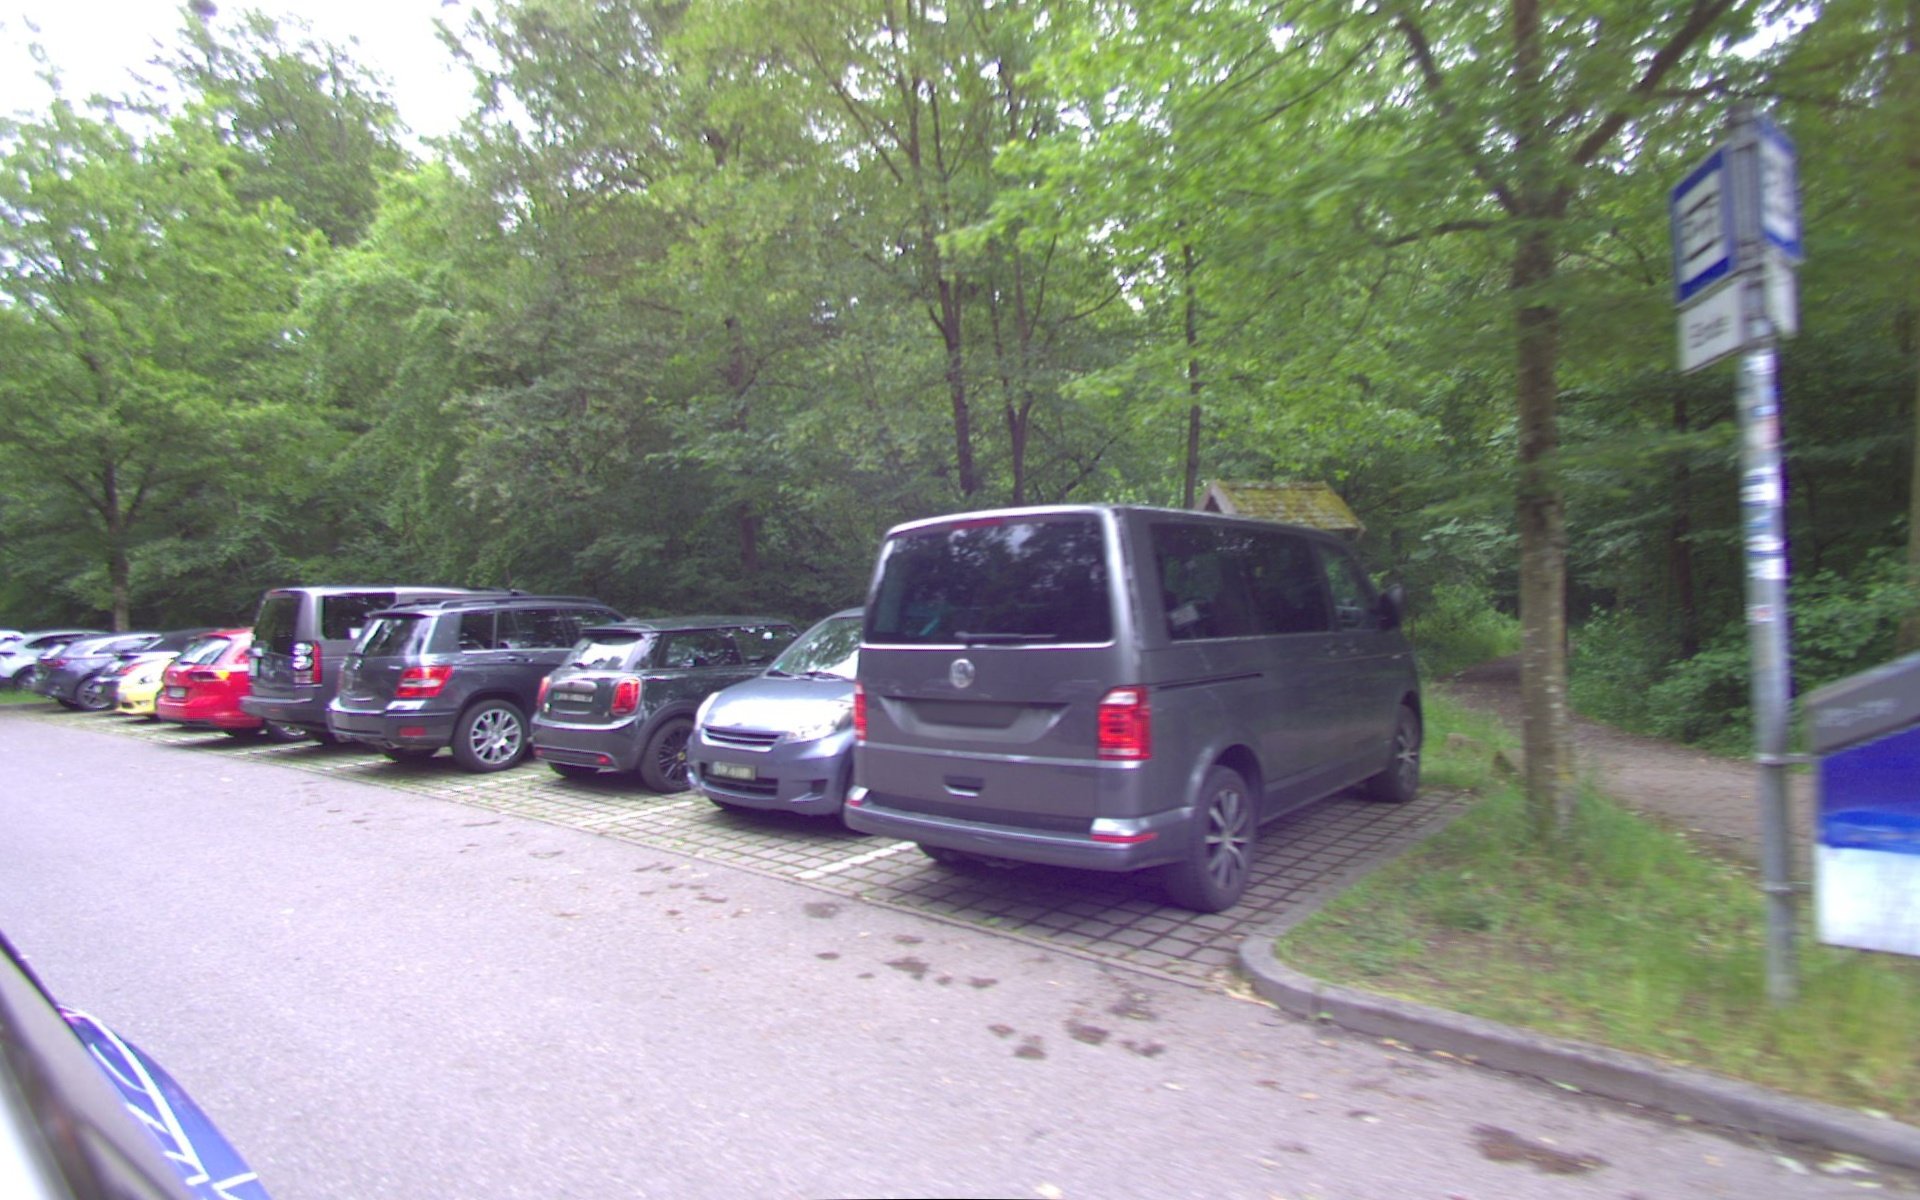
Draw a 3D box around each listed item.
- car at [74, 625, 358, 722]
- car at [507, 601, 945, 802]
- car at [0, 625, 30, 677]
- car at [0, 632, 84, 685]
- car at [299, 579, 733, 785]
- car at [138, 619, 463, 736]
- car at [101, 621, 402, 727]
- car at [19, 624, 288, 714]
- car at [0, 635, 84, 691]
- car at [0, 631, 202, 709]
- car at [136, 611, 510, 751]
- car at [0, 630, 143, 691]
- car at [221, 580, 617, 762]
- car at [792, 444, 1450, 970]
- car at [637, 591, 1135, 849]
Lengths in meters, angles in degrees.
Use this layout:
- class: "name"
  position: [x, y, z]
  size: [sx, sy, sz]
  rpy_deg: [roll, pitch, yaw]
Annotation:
- class: "car"
  position: [-13.859, 1.297, 19.048]
  size: [1.731, 1.449, 3.950]
  rpy_deg: [-2, 0, 37]
- class: "car"
  position: [-2.070, 0.814, 9.904]
  size: [1.718, 1.441, 3.949]
  rpy_deg: [-2, 0, 38]
- class: "car"
  position: [-32.719, 1.699, 32.506]
  size: [1.811, 1.675, 3.951]
  rpy_deg: [-2, -1, 36]
- class: "car"
  position: [-28.413, 1.742, 29.654]
  size: [1.647, 1.446, 3.948]
  rpy_deg: [-2, -1, 39]
- class: "car"
  position: [-4.640, 0.723, 11.094]
  size: [1.820, 1.779, 3.952]
  rpy_deg: [-2, 0, 36]
- class: "car"
  position: [-10.255, 1.121, 16.023]
  size: [1.668, 1.449, 3.953]
  rpy_deg: [-2, 0, 35]
- class: "car"
  position: [-12.111, 1.182, 17.520]
  size: [1.615, 1.449, 3.950]
  rpy_deg: [-2, 0, 37]
- class: "car"
  position: [-16.187, 1.322, 20.486]
  size: [1.712, 1.449, 3.950]
  rpy_deg: [-2, 0, 37]
- class: "car"
  position: [-26.844, 1.777, 27.826]
  size: [1.675, 1.446, 3.948]
  rpy_deg: [-2, 0, 39]
- class: "car"
  position: [-20.181, 1.567, 23.358]
  size: [1.712, 1.478, 3.951]
  rpy_deg: [-2, 0, 37]
- class: "car"
  position: [-8.556, 0.995, 13.912]
  size: [1.776, 1.487, 3.953]
  rpy_deg: [-2, 0, 35]
- class: "car"
  position: [-24.046, 1.571, 26.438]
  size: [1.675, 1.446, 3.948]
  rpy_deg: [-2, -1, 39]
- class: "car"
  position: [-6.544, 0.743, 12.606]
  size: [1.810, 1.876, 3.950]
  rpy_deg: [-2, -1, 37]
- class: "car"
  position: [1.329, 0.382, 6.158]
  size: [1.890, 1.993, 4.456]
  rpy_deg: [-1, 0, 40]
- class: "car"
  position: [-0.378, 0.731, 8.041]
  size: [1.808, 1.524, 3.776]
  rpy_deg: [-3, -1, 40]
